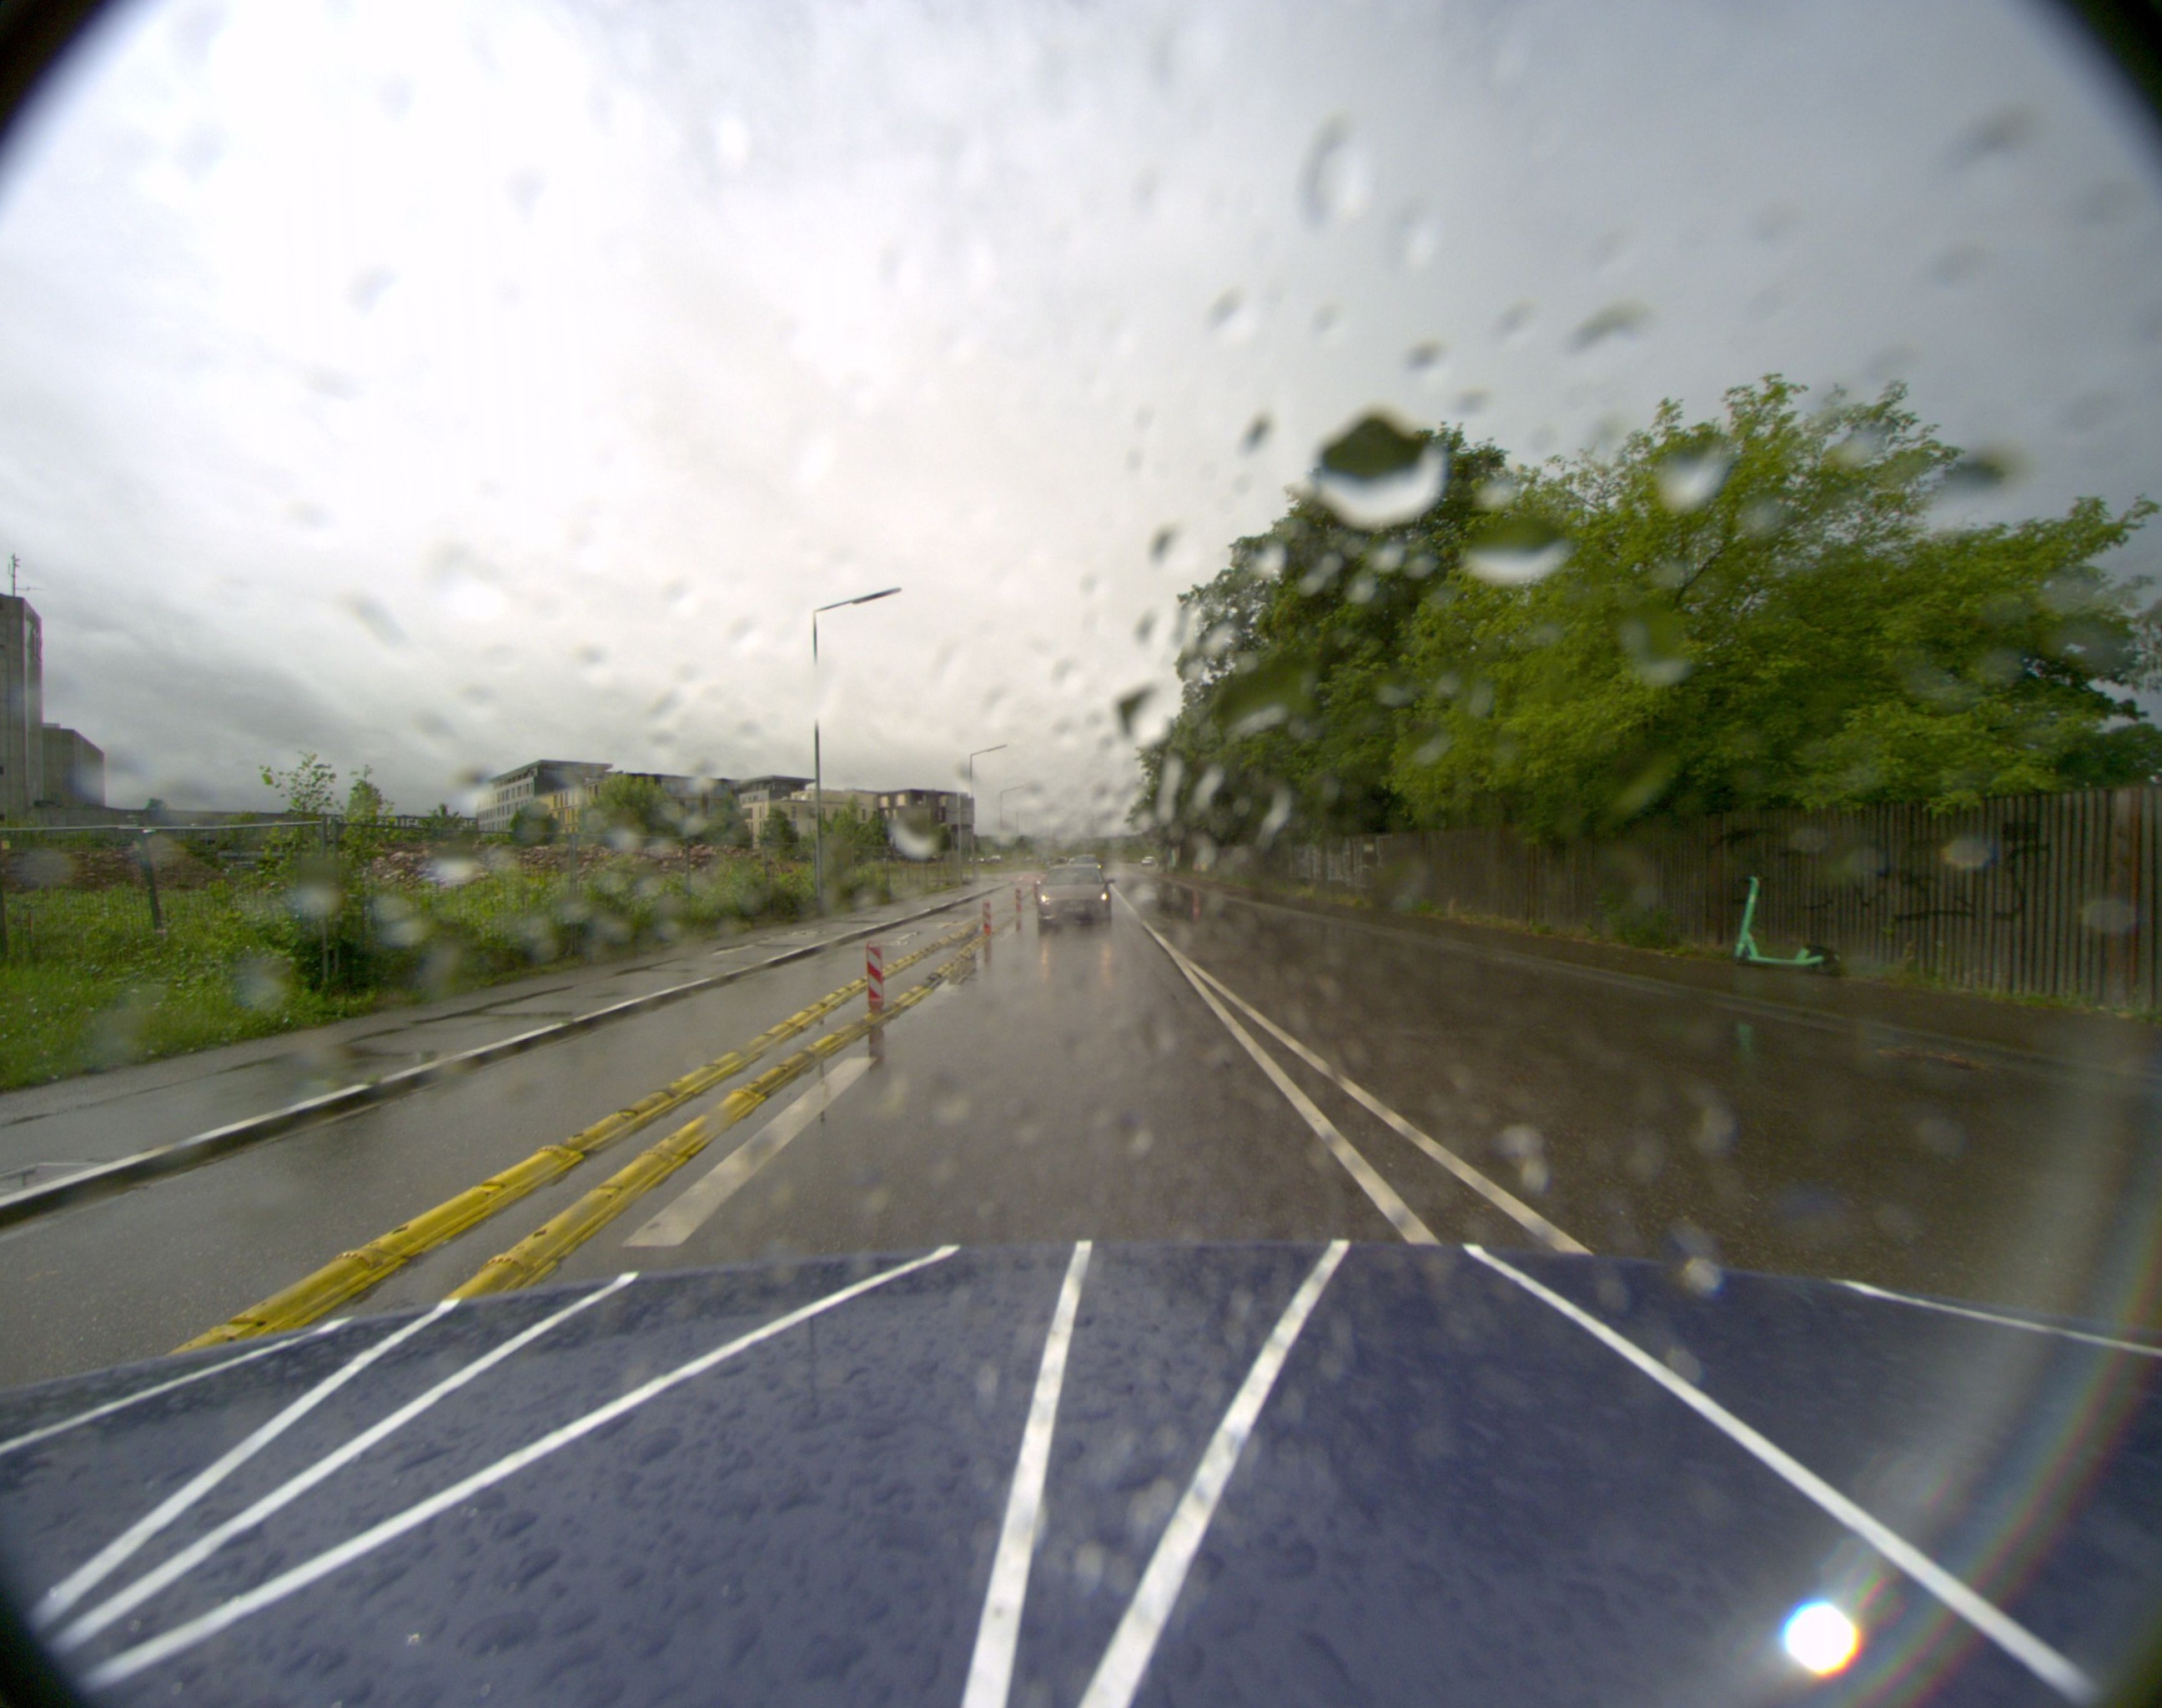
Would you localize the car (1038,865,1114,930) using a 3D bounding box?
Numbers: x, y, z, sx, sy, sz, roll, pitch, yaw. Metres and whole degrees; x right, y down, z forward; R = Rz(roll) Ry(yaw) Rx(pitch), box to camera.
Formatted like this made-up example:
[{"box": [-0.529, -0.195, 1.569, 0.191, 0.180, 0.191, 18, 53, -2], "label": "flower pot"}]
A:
[{"box": [-0.160, 1.028, 19.440, 1.724, 1.423, 3.817, -1, 0, -2], "label": "car"}]

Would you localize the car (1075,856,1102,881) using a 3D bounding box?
[{"box": [0.459, 0.955, 50.095, 1.734, 1.539, 3.770, -1, 0, 0], "label": "car"}]

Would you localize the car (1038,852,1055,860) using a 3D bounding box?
[{"box": [-8.443, 0.479, 185.926, 3.989, 2.002, 2.004, -1, 0, 42], "label": "car"}]

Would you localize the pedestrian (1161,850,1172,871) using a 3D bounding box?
[{"box": [7.286, 0.517, 64.576, 0.841, 1.759, 0.644, 0, 1, 1], "label": "pedestrian"}]

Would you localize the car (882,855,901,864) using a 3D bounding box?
[{"box": [-36.090, 1.064, 144.576, 1.644, 1.573, 3.674, -1, 0, 24], "label": "car"}]

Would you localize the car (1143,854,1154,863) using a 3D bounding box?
[{"box": [13.085, 0.848, 147.284, 1.795, 1.623, 3.821, -1, 0, 11], "label": "car"}]

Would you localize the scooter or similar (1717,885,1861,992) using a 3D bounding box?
[{"box": [8.541, 0.979, 9.224, 0.564, 1.156, 1.207, -1, 1, -7], "label": "scooter or similar"}]

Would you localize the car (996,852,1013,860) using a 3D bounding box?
[{"box": [-19.835, 0.453, 197.219, 4.008, 2.002, 1.994, -1, 0, -43], "label": "car"}]
